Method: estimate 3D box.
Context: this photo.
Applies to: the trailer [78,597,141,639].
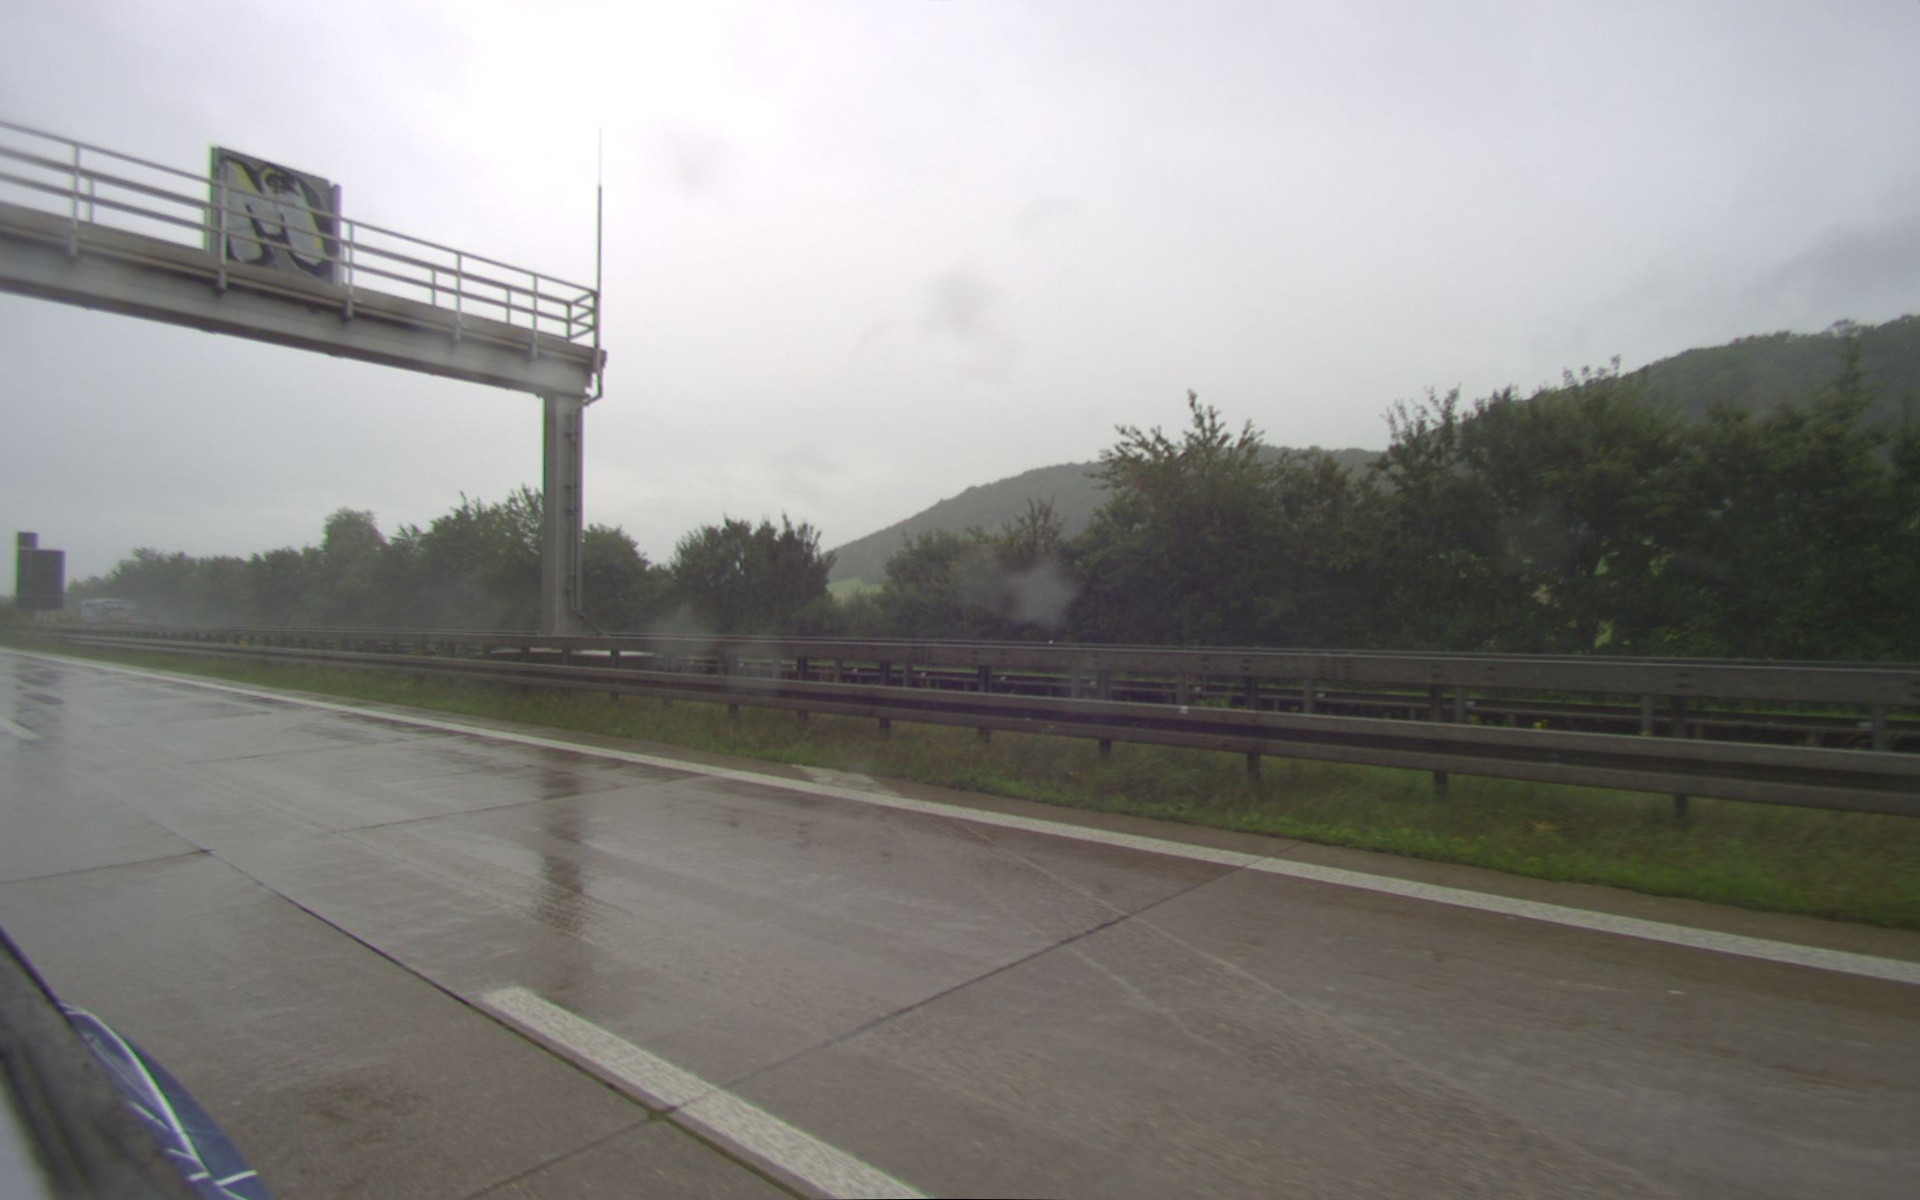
[{"bbox_3d":[-89.789,1.878,106.754,11.394,4.205,3.321,-1,-1,40],"label":"trailer"}]
